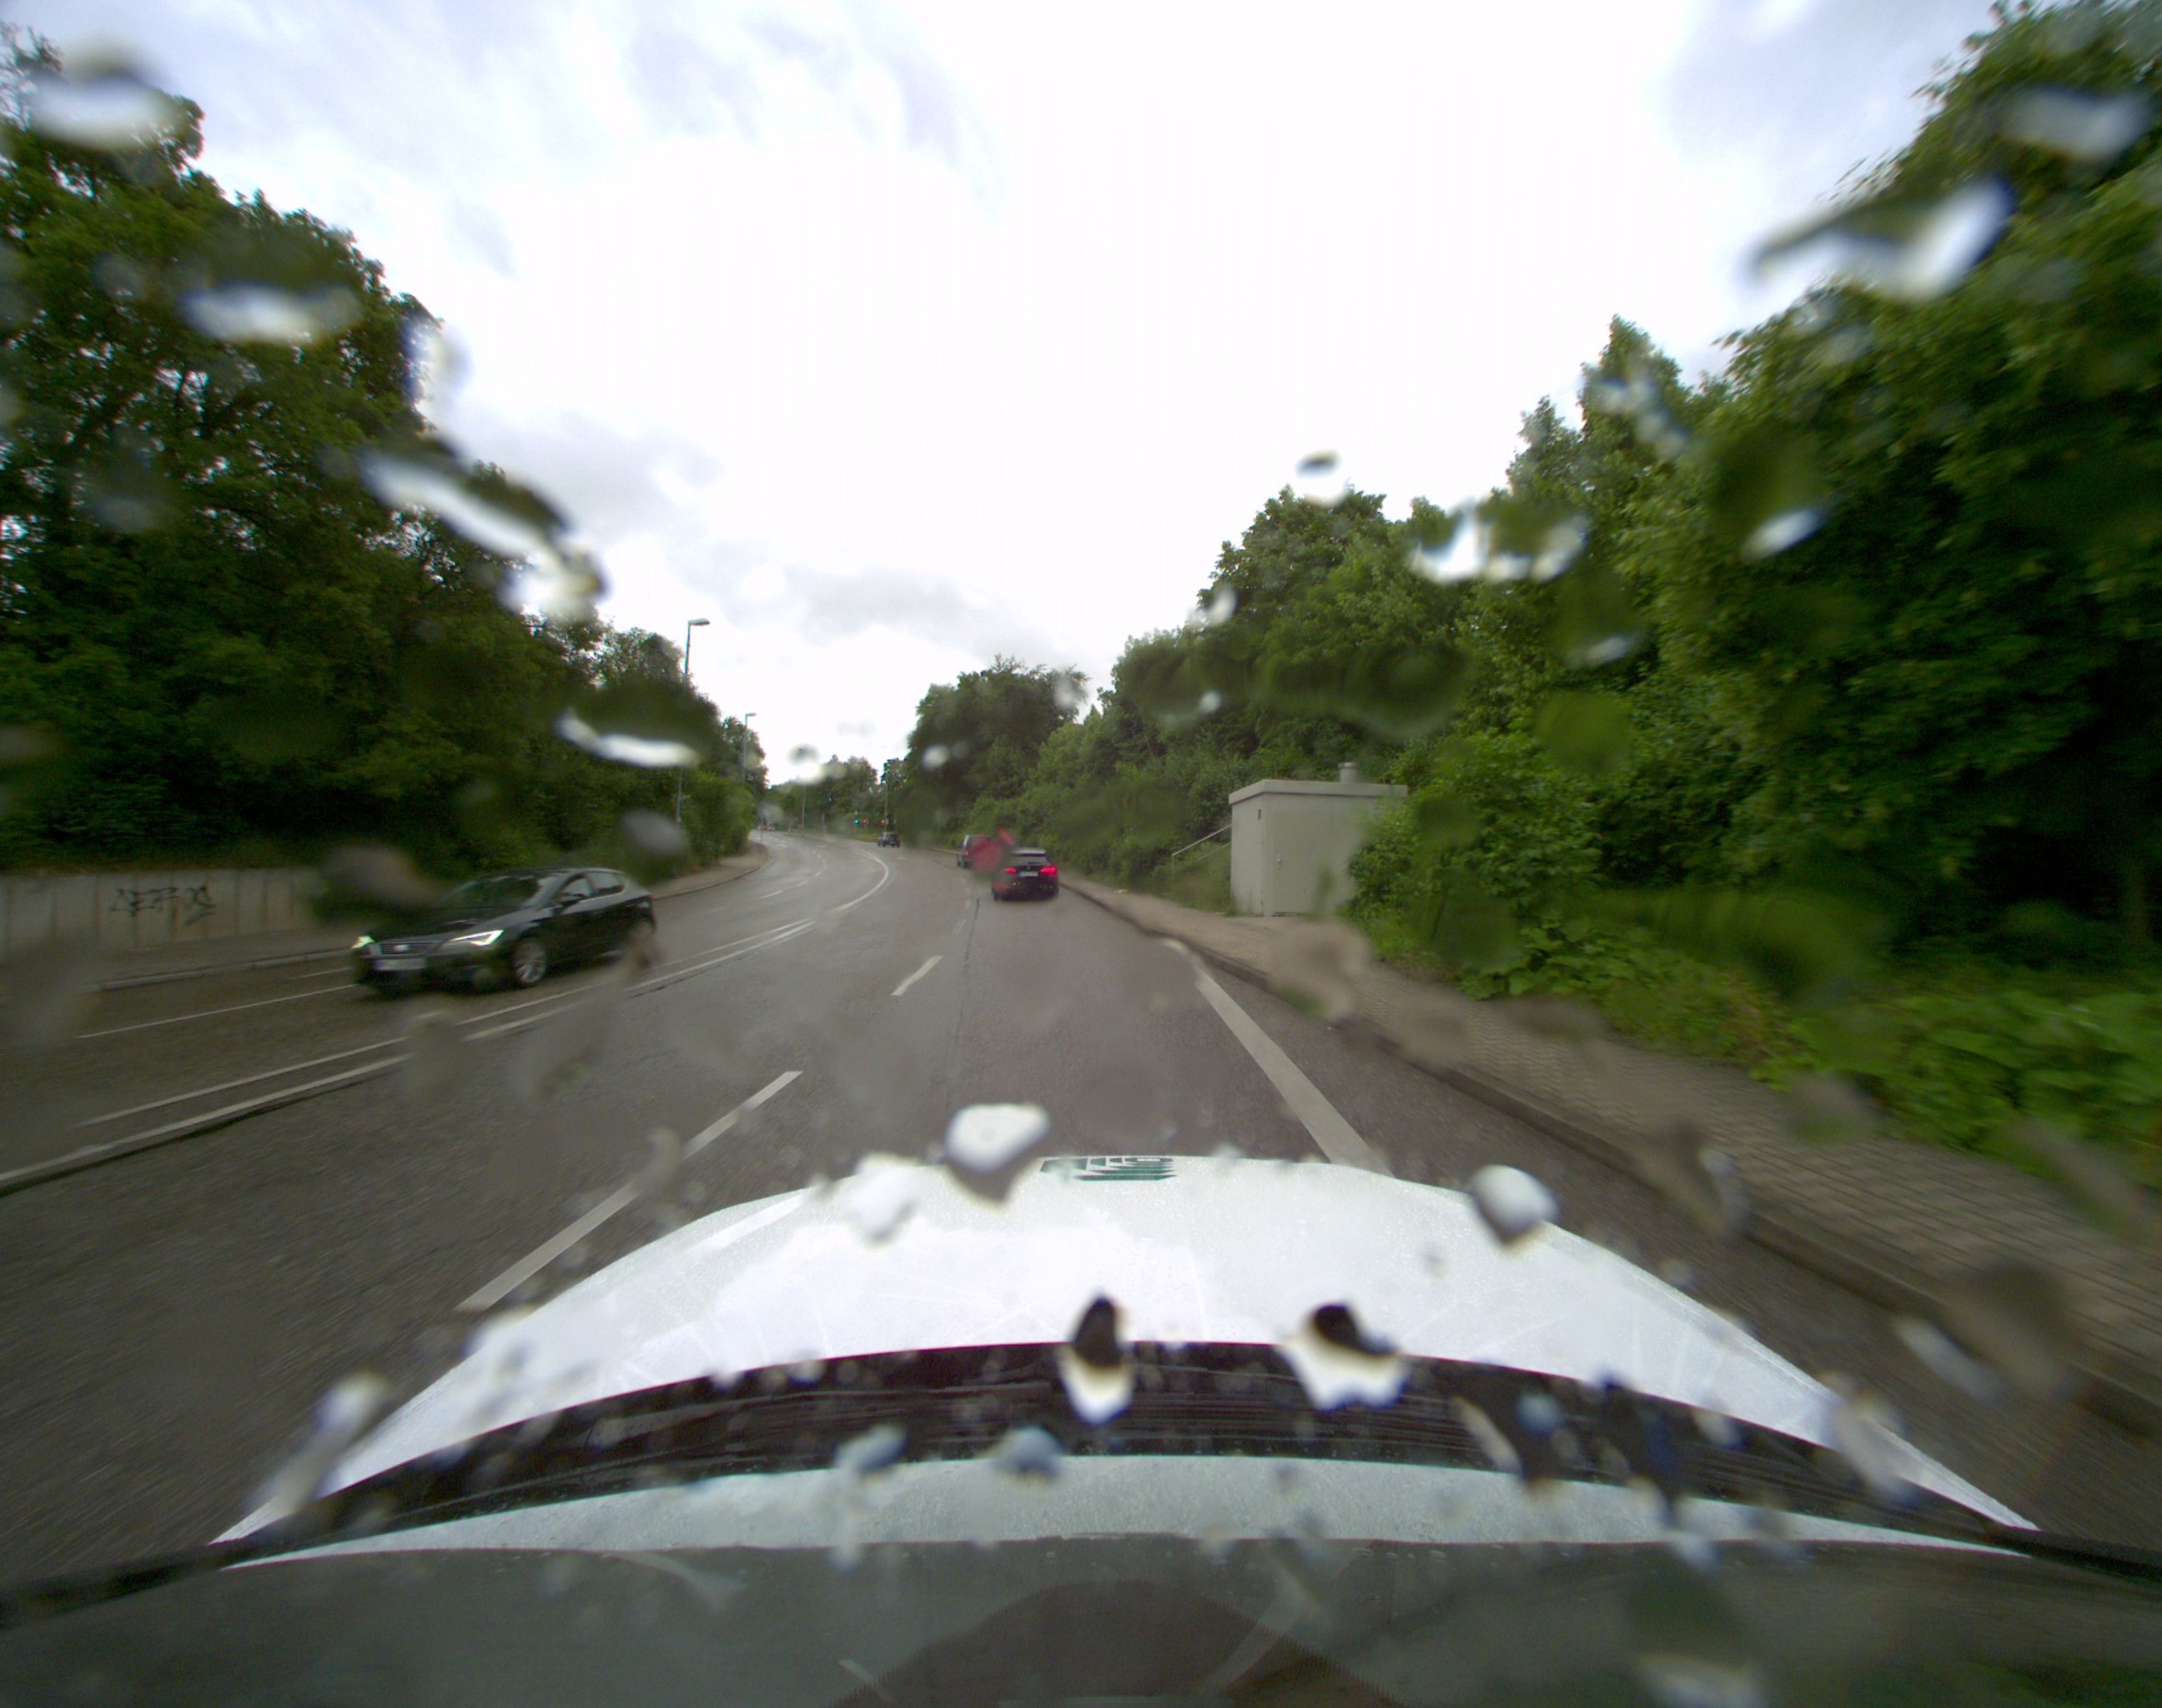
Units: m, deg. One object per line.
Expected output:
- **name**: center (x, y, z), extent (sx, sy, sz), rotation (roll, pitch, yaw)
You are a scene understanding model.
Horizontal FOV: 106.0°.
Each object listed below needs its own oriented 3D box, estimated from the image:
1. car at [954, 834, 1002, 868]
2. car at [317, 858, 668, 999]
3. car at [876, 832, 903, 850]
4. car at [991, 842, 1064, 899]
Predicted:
- **car**: center (-5.781, -0.205, 45.317), extent (1.998, 1.748, 3.978), rotation (-1, 1, -16)
- **car**: center (-7.514, 0.821, 11.047), extent (1.888, 1.487, 4.227), rotation (-1, 0, -5)
- **car**: center (-19.538, -1.301, 82.979), extent (1.860, 1.662, 3.966), rotation (1, -1, -25)
- **car**: center (-1.733, 0.453, 24.862), extent (1.991, 1.586, 4.652), rotation (1, 0, -7)
